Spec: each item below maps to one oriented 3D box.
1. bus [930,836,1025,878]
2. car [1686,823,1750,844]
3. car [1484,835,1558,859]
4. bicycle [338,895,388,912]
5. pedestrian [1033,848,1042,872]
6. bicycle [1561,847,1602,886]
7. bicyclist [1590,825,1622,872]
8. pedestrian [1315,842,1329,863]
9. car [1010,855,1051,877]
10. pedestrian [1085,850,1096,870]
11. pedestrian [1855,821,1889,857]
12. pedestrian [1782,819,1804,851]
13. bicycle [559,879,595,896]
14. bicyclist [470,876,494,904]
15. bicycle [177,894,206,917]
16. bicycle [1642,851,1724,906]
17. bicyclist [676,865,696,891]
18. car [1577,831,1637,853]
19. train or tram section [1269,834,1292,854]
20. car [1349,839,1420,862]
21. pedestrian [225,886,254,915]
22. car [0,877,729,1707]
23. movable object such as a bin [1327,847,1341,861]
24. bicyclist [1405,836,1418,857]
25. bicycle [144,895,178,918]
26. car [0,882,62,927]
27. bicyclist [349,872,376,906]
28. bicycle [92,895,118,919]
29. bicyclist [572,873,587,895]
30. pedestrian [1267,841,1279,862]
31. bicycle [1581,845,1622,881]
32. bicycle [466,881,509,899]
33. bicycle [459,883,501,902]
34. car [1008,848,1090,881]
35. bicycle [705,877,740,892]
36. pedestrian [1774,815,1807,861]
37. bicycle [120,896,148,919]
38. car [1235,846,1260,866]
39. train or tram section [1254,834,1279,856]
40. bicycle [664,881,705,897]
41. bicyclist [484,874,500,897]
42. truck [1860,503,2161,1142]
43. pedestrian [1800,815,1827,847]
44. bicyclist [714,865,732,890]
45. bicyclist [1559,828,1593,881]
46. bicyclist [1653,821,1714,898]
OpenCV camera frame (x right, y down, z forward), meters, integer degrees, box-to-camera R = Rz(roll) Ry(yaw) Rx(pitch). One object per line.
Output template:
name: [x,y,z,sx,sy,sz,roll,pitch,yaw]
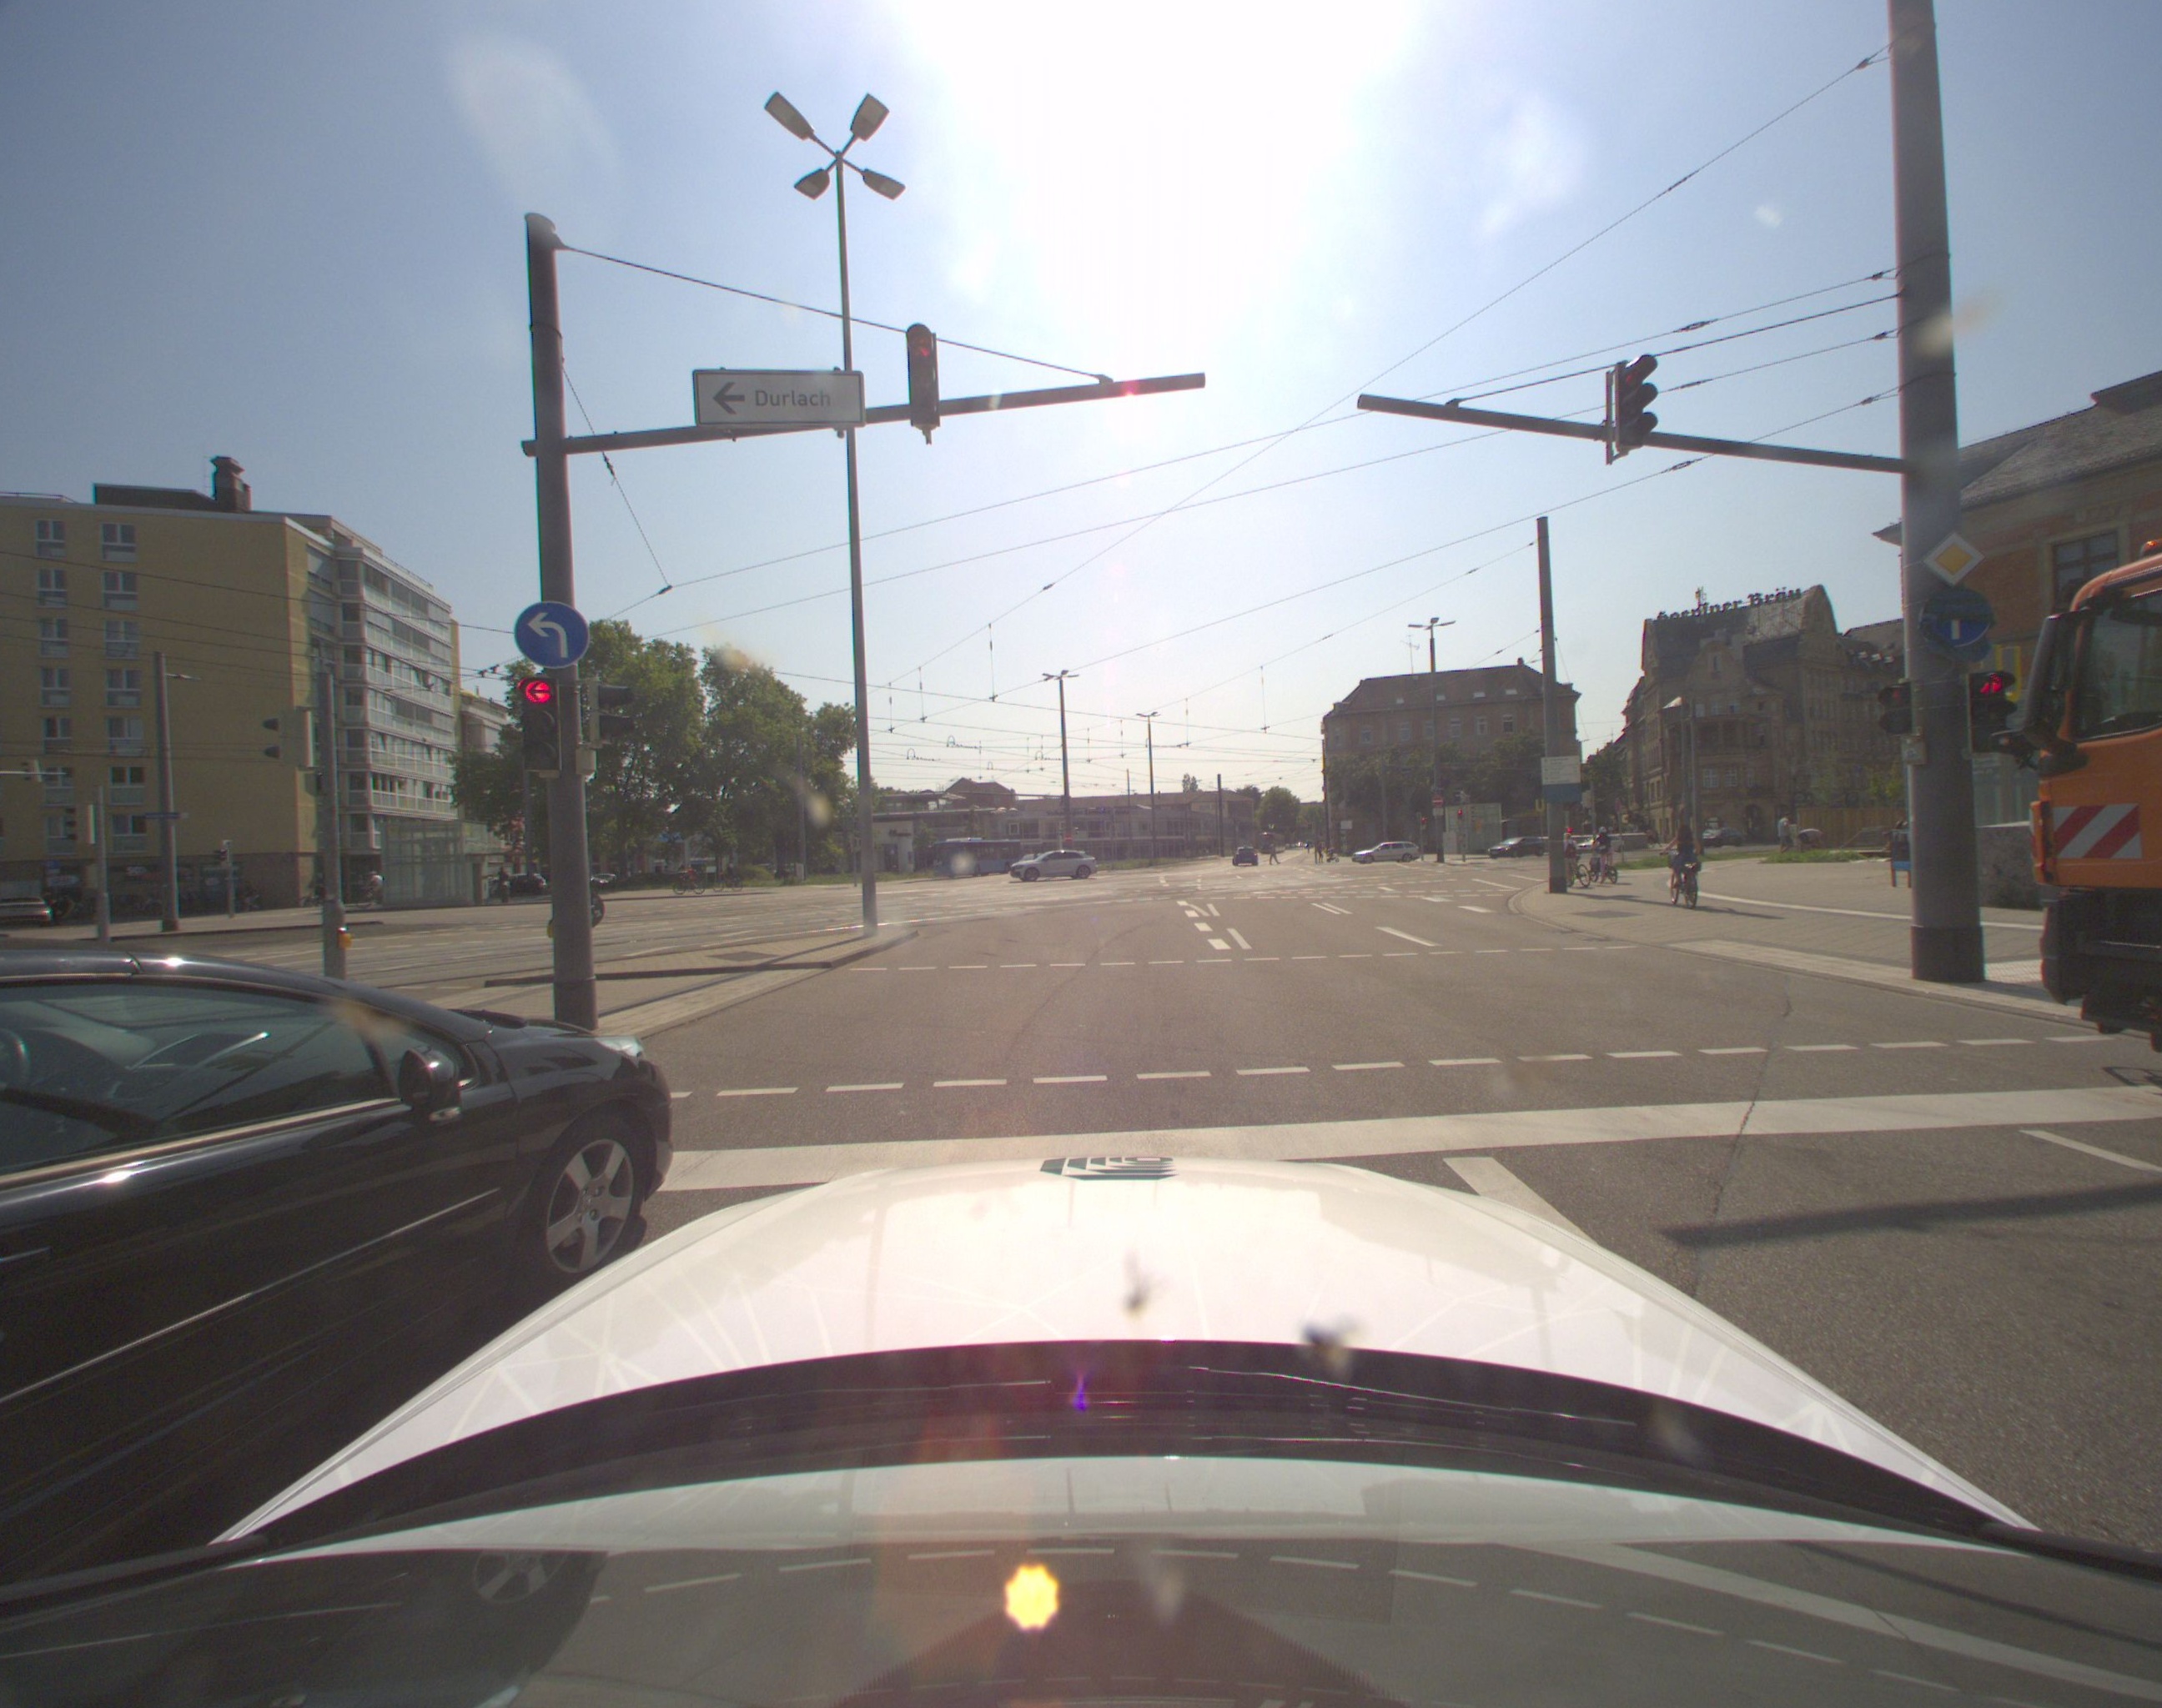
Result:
bus: [-8.256,0.182,67.196,2.541,3.082,12.082,-3,0,19]
car: [52.870,-1.714,67.579,4.624,1.505,1.987,-2,0,-19]
car: [30.858,-0.493,57.130,4.766,1.415,1.765,-2,0,-18]
bicycle: [-38.792,2.665,44.011,2.049,0.802,0.478,-2,0,-11]
pedestrian: [-3.117,0.455,58.370,0.554,1.684,0.451,-2,0,-17]
bicycle: [14.595,0.347,23.774,0.532,1.055,1.660,-2,0,14]
bicyclist: [16.072,-0.156,24.956,0.526,1.393,0.897,-2,0,14]
pedestrian: [18.800,-0.117,63.609,0.849,1.545,0.527,-2,0,-6]
car: [-3.923,0.954,63.924,1.735,1.552,4.020,-3,0,20]
pedestrian: [0.655,0.448,58.711,0.678,1.443,0.364,-2,0,-15]
pedestrian: [31.614,-0.584,32.555,0.768,1.399,0.687,-2,0,-24]
pedestrian: [36.267,-0.970,41.467,0.794,1.575,0.729,-2,0,-44]
bicycle: [-30.504,2.015,49.309,1.814,0.942,0.414,-2,0,-11]
bicyclist: [-33.891,2.043,46.081,0.914,1.508,0.555,-2,0,-23]
bicycle: [-49.246,2.853,45.060,3.220,1.204,0.699,-3,0,36]
bicycle: [12.398,0.478,16.826,0.489,1.055,1.826,-2,0,7]
bicyclist: [-22.927,1.397,47.263,0.871,1.483,0.496,-2,0,-10]
car: [39.774,-0.908,61.619,4.207,1.415,1.762,-2,0,-24]
train or tram section: [38.599,-1.919,157.132,2.566,3.516,13.040,-2,0,21]
car: [20.744,-0.248,55.727,4.159,1.415,1.776,-2,0,1]
pedestrian: [-47.288,2.612,45.787,0.858,1.543,0.739,-2,0,-19]
car: [-2.647,0.811,1.823,1.757,1.388,3.787,-1,0,6]
movable object such as a bin: [19.669,0.011,63.326,0.812,1.077,0.510,-2,0,-9]
bicyclist: [24.374,-0.561,60.028,0.614,1.528,0.517,-2,0,-22]
bicycle: [-50.515,2.870,44.712,3.220,1.204,0.916,-3,0,36]
car: [-48.344,2.299,37.306,3.949,1.925,1.815,-3,0,42]
bicyclist: [-38.807,1.894,43.987,0.924,1.808,0.496,-2,0,-11]
bicycle: [-52.862,2.868,44.114,2.754,1.204,0.699,-3,0,36]
bicyclist: [-30.315,1.824,49.261,0.544,1.293,0.557,-2,0,-10]
pedestrian: [15.137,-0.206,64.250,0.699,1.603,0.572,-2,0,-6]
bicycle: [16.169,0.269,25.335,0.532,1.055,1.660,-2,0,14]
bicycle: [-35.479,2.145,48.664,2.033,0.942,0.466,-2,0,-11]
bicycle: [-33.970,2.190,46.044,1.822,0.942,0.563,-2,0,-24]
car: [-1.806,0.581,46.125,4.331,1.618,1.745,-2,0,-16]
bicycle: [-21.817,1.875,49.618,1.860,0.802,0.604,-2,0,-17]
pedestrian: [27.264,-0.627,31.286,0.549,1.724,0.812,-2,0,-39]
bicycle: [-51.542,2.896,44.325,3.220,1.204,0.699,-3,0,36]
car: [12.788,0.125,62.618,1.582,1.394,4.009,-2,0,8]
train or tram section: [31.211,-1.534,136.750,2.566,3.516,10.955,-2,0,21]
bicycle: [-22.989,2.017,47.269,2.049,0.802,0.478,-2,0,-11]
bicyclist: [-35.207,1.877,48.670,0.544,1.293,0.557,-2,0,-10]
truck: [6.412,-0.154,2.158,2.481,3.134,6.868,0,0,4]
pedestrian: [29.014,-0.904,32.261,0.658,1.214,0.531,-2,0,30]
bicyclist: [-21.839,1.451,49.638,0.873,1.475,0.543,-2,0,-16]
bicyclist: [14.580,0.022,24.018,0.623,1.517,0.715,-2,0,14]
bicyclist: [12.374,0.108,16.737,0.730,1.517,0.665,-2,0,6]
